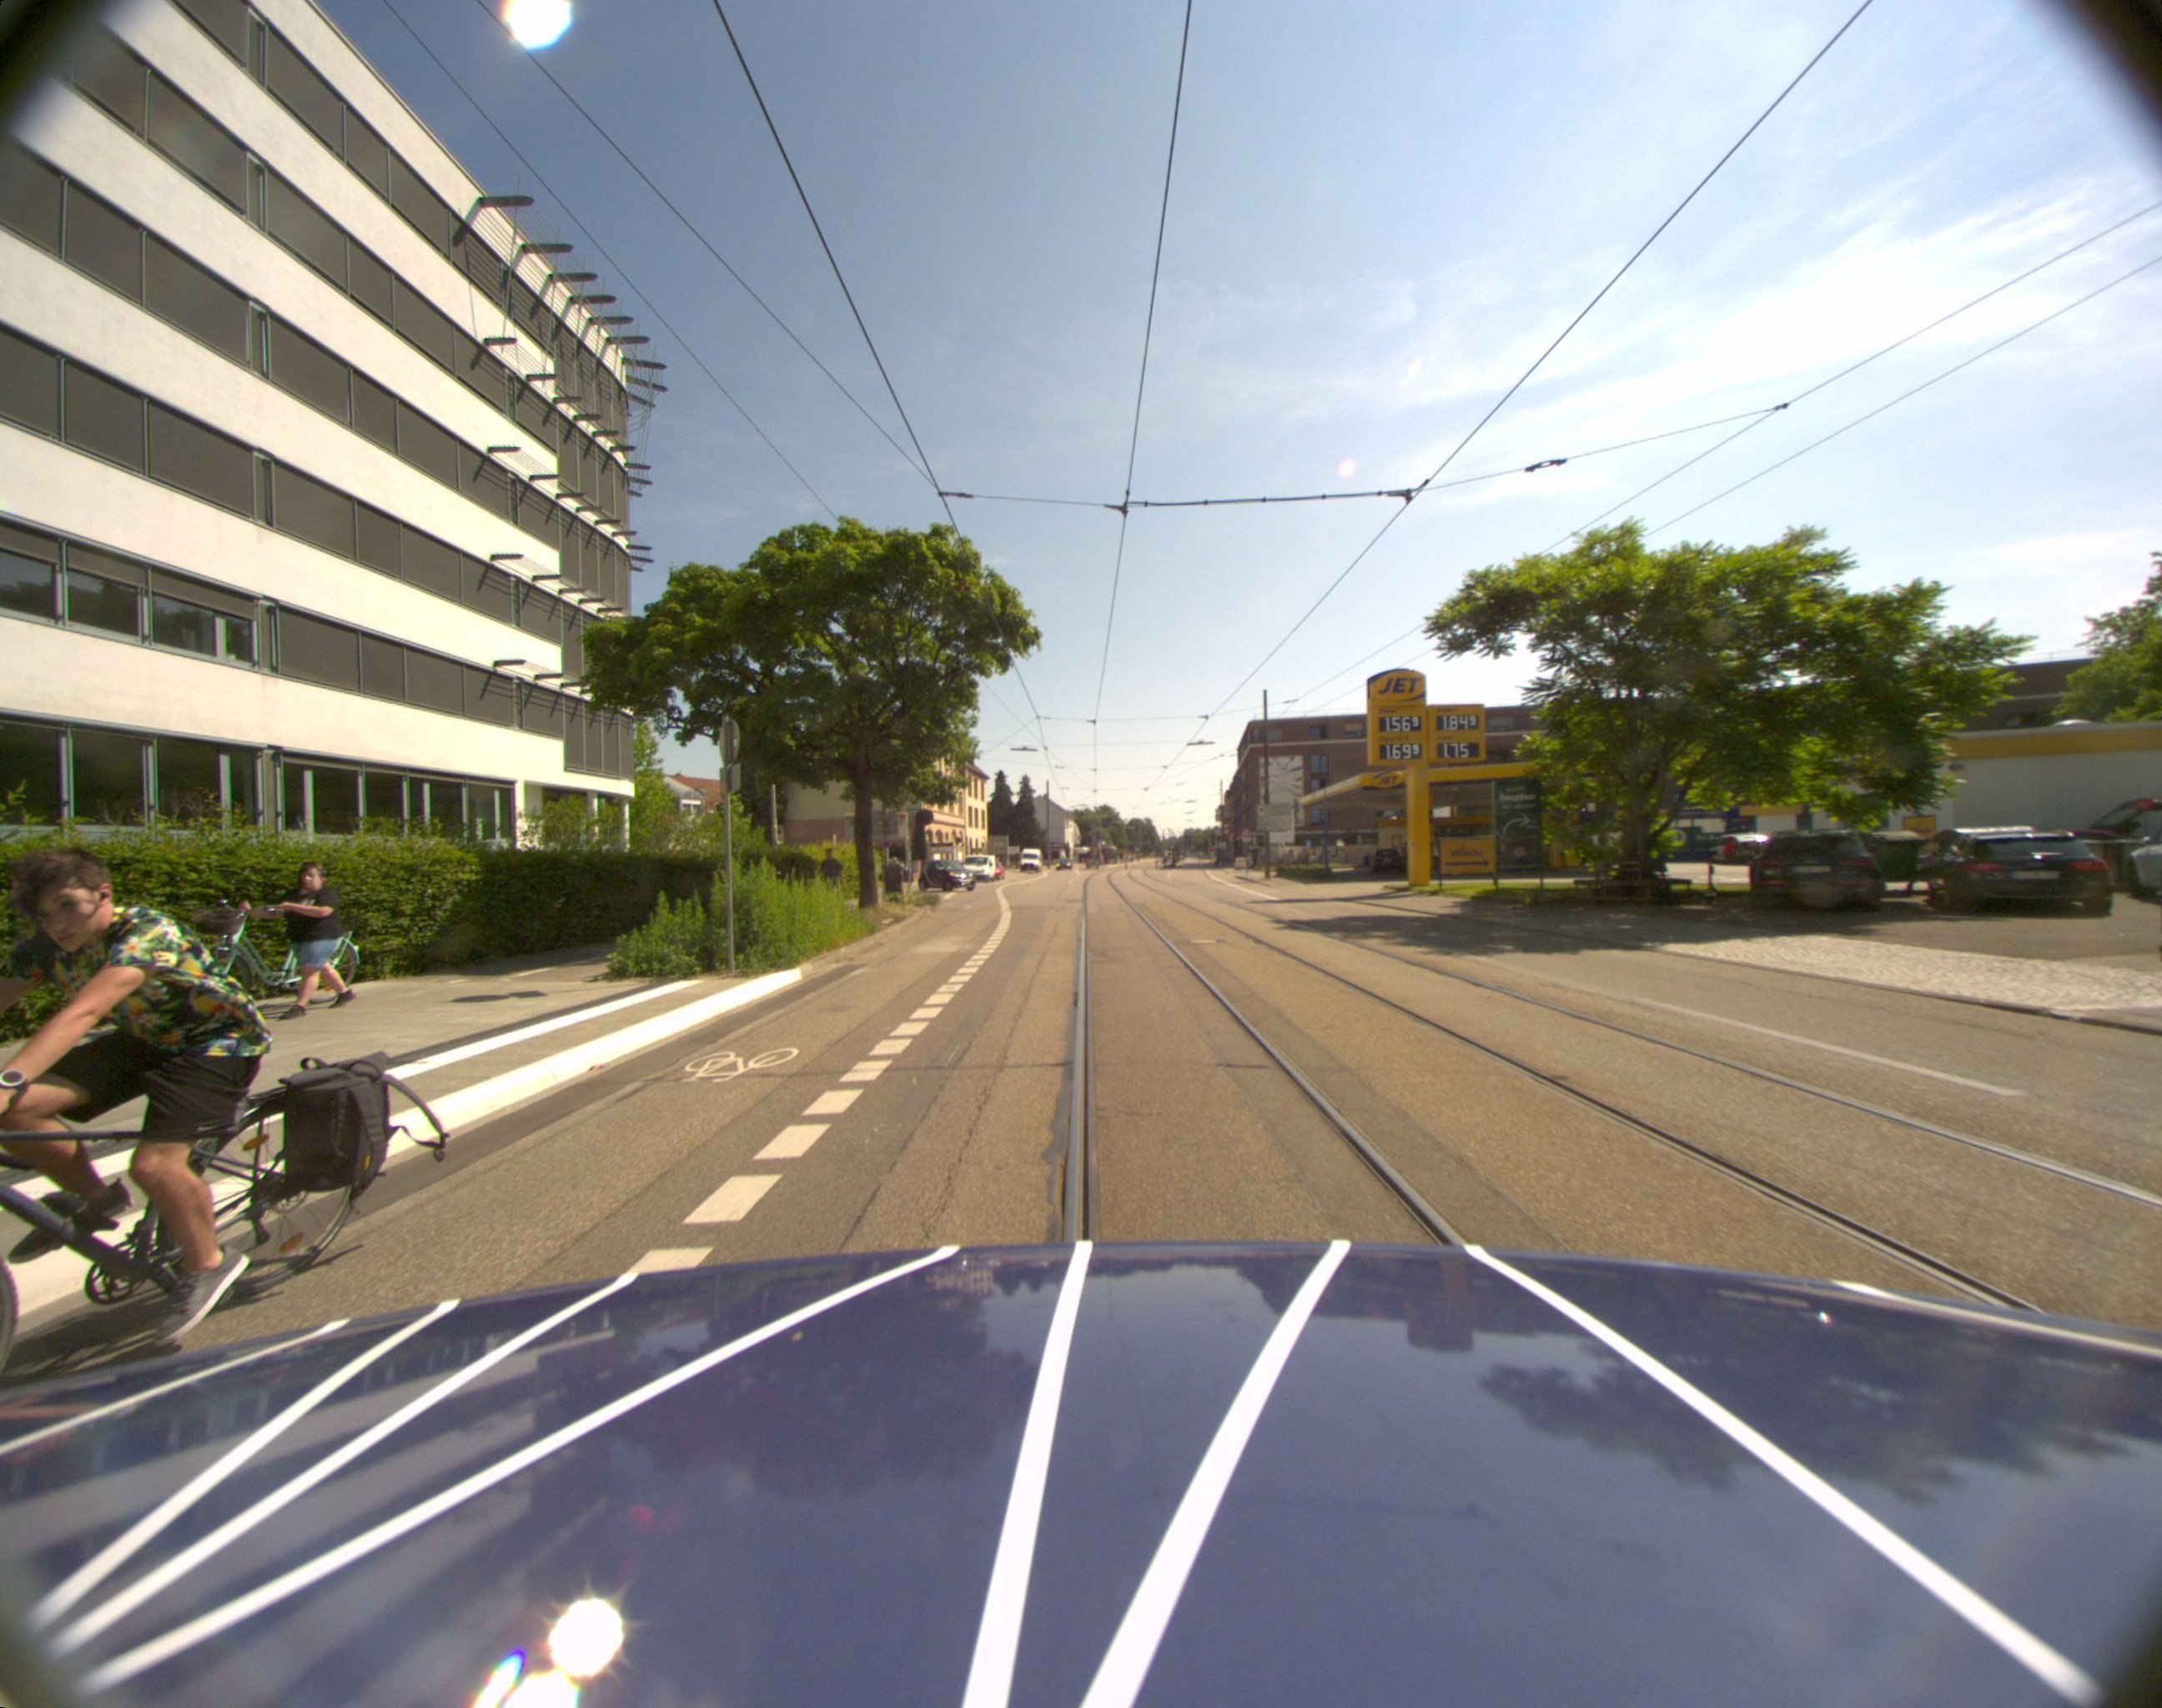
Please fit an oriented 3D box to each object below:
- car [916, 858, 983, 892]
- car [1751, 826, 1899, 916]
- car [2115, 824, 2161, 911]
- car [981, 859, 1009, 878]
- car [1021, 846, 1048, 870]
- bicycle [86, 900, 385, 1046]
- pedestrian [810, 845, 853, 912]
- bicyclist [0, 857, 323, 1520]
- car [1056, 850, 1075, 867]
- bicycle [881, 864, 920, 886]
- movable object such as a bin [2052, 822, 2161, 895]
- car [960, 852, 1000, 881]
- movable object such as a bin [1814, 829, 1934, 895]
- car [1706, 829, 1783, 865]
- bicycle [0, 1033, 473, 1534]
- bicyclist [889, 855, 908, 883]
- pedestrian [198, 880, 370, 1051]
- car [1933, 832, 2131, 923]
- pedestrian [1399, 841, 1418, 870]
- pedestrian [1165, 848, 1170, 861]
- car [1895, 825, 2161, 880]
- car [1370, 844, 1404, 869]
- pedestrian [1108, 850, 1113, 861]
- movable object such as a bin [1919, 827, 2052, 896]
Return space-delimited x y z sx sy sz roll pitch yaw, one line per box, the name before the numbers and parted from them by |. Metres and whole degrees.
car | -6.381 0.978 36.690 2.968 1.530 1.482 0 1 34
car | 15.819 0.279 16.235 2.014 1.631 4.669 -1 1 44
car | 20.586 0.203 13.582 1.842 1.548 4.008 -1 1 44
car | -6.877 1.149 61.195 1.724 1.398 4.001 -1 0 1
car | -5.164 0.398 84.704 2.335 2.521 6.507 1 0 2
bicycle | -8.245 1.094 7.594 0.637 1.111 2.067 -1 1 0
pedestrian | -7.014 0.674 21.408 0.892 1.807 1.073 -1 1 -6
bicyclist | -3.175 0.879 2.291 0.718 1.714 0.988 -1 1 1
car | -1.858 0.519 92.033 1.998 2.002 4.000 -1 0 2
bicycle | -10.358 1.205 43.630 2.123 1.190 0.611 -2 1 -10
movable object such as a bin | 22.405 0.089 16.411 1.326 1.494 1.333 1 1 29
car | -7.237 0.853 54.883 2.089 2.002 4.909 0 0 2
movable object such as a bin | 19.010 0.188 18.264 1.420 1.494 1.380 -2 0 4
car | 39.975 -0.430 45.933 1.757 1.971 5.315 -1 0 21
bicycle | -3.156 1.316 2.405 0.610 0.978 2.164 -2 0 3
bicyclist | -10.463 0.849 43.583 0.964 1.586 0.905 -1 1 -9
pedestrian | -7.882 1.057 7.571 0.688 1.554 0.988 0 1 -4
car | 17.658 0.359 14.319 1.842 1.465 4.008 -1 1 44
pedestrian | 20.222 0.084 46.976 0.858 1.715 0.745 -1 1 3
pedestrian | 11.421 0.091 99.882 0.557 1.750 0.793 -2 1 2
car | 27.235 -0.006 22.040 4.544 1.451 1.896 -1 -1 27
car | 19.668 0.173 48.776 1.757 1.446 4.417 -4 -2 24
pedestrian | 4.511 0.237 117.767 0.707 1.680 0.416 -1 1 0
movable object such as a bin | 20.484 0.166 17.270 1.419 1.494 1.381 -1 1 17
